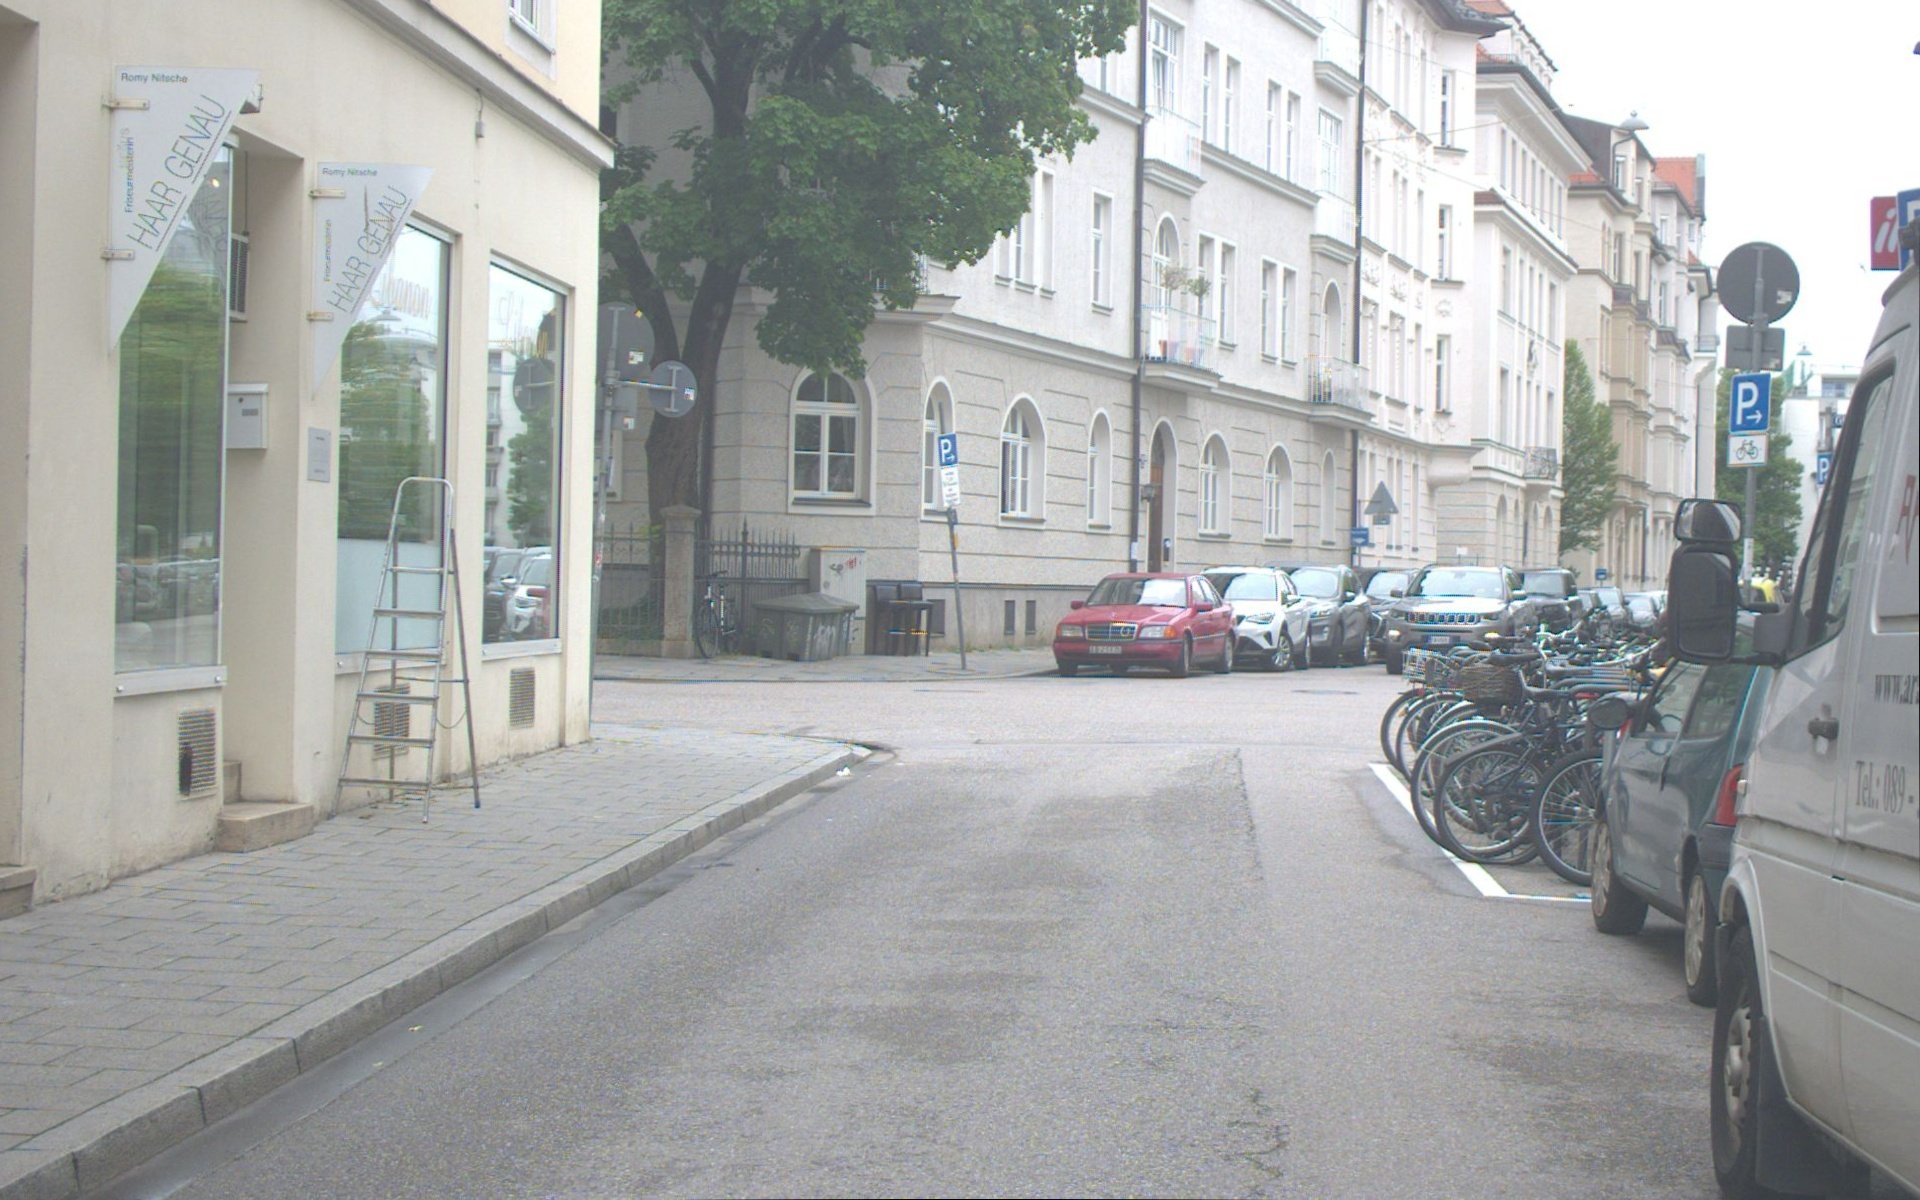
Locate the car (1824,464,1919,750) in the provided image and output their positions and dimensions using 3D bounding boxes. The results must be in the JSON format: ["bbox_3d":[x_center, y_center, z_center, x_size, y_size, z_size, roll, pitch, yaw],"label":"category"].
[{"bbox_3d":[11.133,0.107,31.760,5.896,2.582,2.059,2,2,10],"label":"car"}]

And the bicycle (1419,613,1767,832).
[{"bbox_3d":[3.581,0.685,19.541,1.874,1.200,0.579,0,1,3],"label":"bicycle"}]

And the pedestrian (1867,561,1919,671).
[{"bbox_3d":[15.931,0.271,58.634,0.779,1.845,1.022,2,1,19],"label":"pedestrian"}]

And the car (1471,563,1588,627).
[{"bbox_3d":[12.699,-0.113,76.505,1.908,1.324,3.996,2,1,19],"label":"car"}]

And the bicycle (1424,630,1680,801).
[{"bbox_3d":[3.948,0.765,22.974,1.613,1.076,0.378,1,2,1],"label":"bicycle"}]

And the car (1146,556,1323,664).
[{"bbox_3d":[4.108,0.128,50.898,1.995,1.468,4.216,2,1,13],"label":"car"}]

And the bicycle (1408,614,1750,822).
[{"bbox_3d":[3.616,0.683,20.168,1.893,1.166,0.566,1,1,2],"label":"bicycle"}]

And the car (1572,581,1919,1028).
[{"bbox_3d":[3.343,0.685,13.282,1.580,1.459,3.551,1,1,5],"label":"car"}]

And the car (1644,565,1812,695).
[{"bbox_3d":[10.888,0.400,48.532,1.822,1.630,4.285,4,1,18],"label":"car"}]

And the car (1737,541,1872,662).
[{"bbox_3d":[14.405,0.021,58.510,1.822,1.864,4.285,4,1,18],"label":"car"}]

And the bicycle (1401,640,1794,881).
[{"bbox_3d":[3.252,0.814,17.629,1.874,1.104,0.488,3,2,3],"label":"bicycle"}]

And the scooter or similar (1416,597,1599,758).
[{"bbox_3d":[4.261,0.599,26.799,1.353,1.206,0.417,2,0,6],"label":"scooter or similar"}]

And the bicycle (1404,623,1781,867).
[{"bbox_3d":[3.320,0.756,18.145,1.874,1.200,0.488,1,2,3],"label":"bicycle"}]

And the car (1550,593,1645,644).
[{"bbox_3d":[16.234,0.448,87.480,1.908,1.218,3.997,2,1,17],"label":"car"}]

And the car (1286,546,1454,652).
[{"bbox_3d":[7.267,-0.031,60.565,1.995,1.732,4.517,2,1,19],"label":"car"}]

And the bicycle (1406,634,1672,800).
[{"bbox_3d":[3.994,0.800,23.772,1.740,1.076,0.452,1,2,1],"label":"bicycle"}]

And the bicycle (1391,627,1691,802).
[{"bbox_3d":[3.798,0.746,22.545,1.874,1.076,0.408,1,2,1],"label":"bicycle"}]

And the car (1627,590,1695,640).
[{"bbox_3d":[21.273,0.434,104.266,1.735,1.415,3.997,2,1,15],"label":"car"}]

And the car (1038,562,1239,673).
[{"bbox_3d":[2.440,0.218,46.023,1.732,1.373,4.223,2,1,16],"label":"car"}]

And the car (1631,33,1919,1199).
[{"bbox_3d":[2.670,0.249,6.351,1.920,2.497,5.996,3,1,3],"label":"car"}]

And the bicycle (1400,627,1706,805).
[{"bbox_3d":[3.802,0.741,22.104,1.874,1.076,0.402,1,2,1],"label":"bicycle"}]

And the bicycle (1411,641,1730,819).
[{"bbox_3d":[3.788,0.804,21.405,1.874,1.048,0.564,1,-1,1],"label":"bicycle"}]

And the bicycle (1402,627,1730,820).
[{"bbox_3d":[3.640,0.738,20.712,1.874,1.091,0.440,1,2,1],"label":"bicycle"}]

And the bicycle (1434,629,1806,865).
[{"bbox_3d":[3.593,0.793,18.807,1.874,1.153,0.565,3,2,3],"label":"bicycle"}]

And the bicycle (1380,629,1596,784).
[{"bbox_3d":[3.836,0.769,25.024,1.451,1.066,0.463,2,1,-3],"label":"bicycle"}]

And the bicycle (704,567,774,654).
[{"bbox_3d":[-2.908,0.131,45.361,0.493,1.049,1.826,2,3,10],"label":"bicycle"}]

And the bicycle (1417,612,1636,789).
[{"bbox_3d":[4.042,0.714,24.554,1.451,1.203,0.395,2,1,-3],"label":"bicycle"}]

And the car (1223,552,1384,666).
[{"bbox_3d":[5.584,0.131,55.435,1.944,1.696,3.997,2,1,14],"label":"car"}]

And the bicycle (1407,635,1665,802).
[{"bbox_3d":[3.907,0.801,23.364,1.674,1.076,0.336,1,2,1],"label":"bicycle"}]

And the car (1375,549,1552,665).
[{"bbox_3d":[7.525,0.084,51.093,1.959,1.602,4.305,1,1,17],"label":"car"}]

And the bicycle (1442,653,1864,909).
[{"bbox_3d":[3.319,0.861,16.563,1.874,1.076,0.488,4,2,3],"label":"bicycle"}]

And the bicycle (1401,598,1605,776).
[{"bbox_3d":[4.099,0.651,26.014,1.457,1.281,0.445,2,1,6],"label":"bicycle"}]

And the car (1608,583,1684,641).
[{"bbox_3d":[19.683,0.334,98.524,1.822,1.568,3.997,2,1,15],"label":"car"}]
